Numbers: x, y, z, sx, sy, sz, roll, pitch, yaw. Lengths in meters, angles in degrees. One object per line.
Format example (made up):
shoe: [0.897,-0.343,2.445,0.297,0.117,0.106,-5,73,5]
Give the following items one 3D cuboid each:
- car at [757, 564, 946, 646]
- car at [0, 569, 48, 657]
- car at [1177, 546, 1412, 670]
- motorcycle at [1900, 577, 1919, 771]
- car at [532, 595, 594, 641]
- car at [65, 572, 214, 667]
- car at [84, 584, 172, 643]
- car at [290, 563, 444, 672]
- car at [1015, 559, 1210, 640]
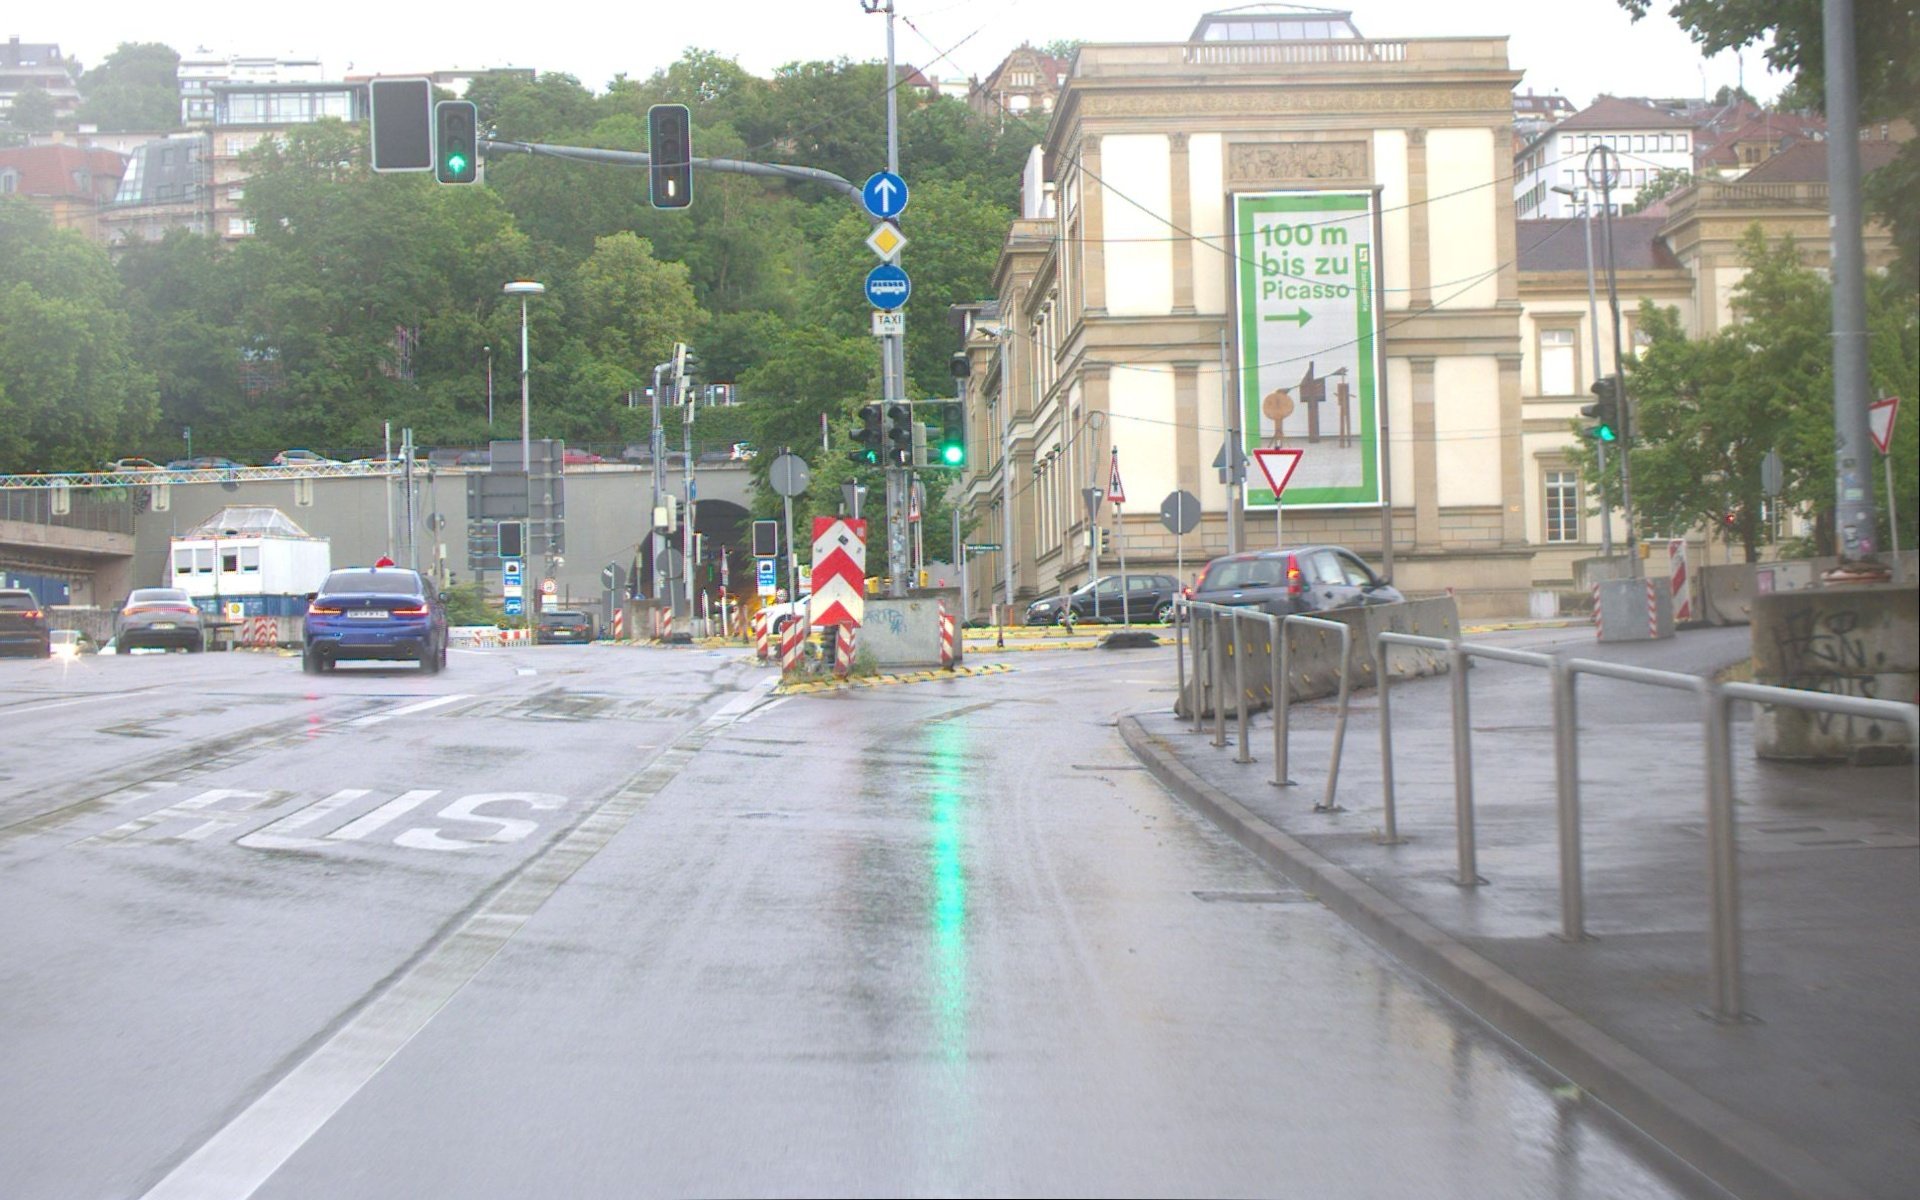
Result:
car: [-2.746,0.123,86.220,4.625,2.007,2.000,0,1,-5]
car: [-19.935,0.247,71.271,1.775,1.744,4.001,0,1,-18]
car: [4.105,0.091,41.727,1.672,1.422,3.752,-1,0,25]
motorcycle: [5.930,0.441,19.650,0.546,1.134,1.899,-1,1,-1]
car: [-12.367,0.555,107.259,1.493,1.349,4.000,1,1,-1]
car: [-18.287,0.398,76.548,1.993,2.007,4.295,-1,1,-31]
car: [-29.394,0.459,121.580,1.994,2.007,4.000,0,1,3]
car: [-8.199,0.228,47.490,1.993,1.433,4.001,0,0,-10]
car: [3.830,-0.023,86.888,4.674,2.007,2.000,0,1,-5]
